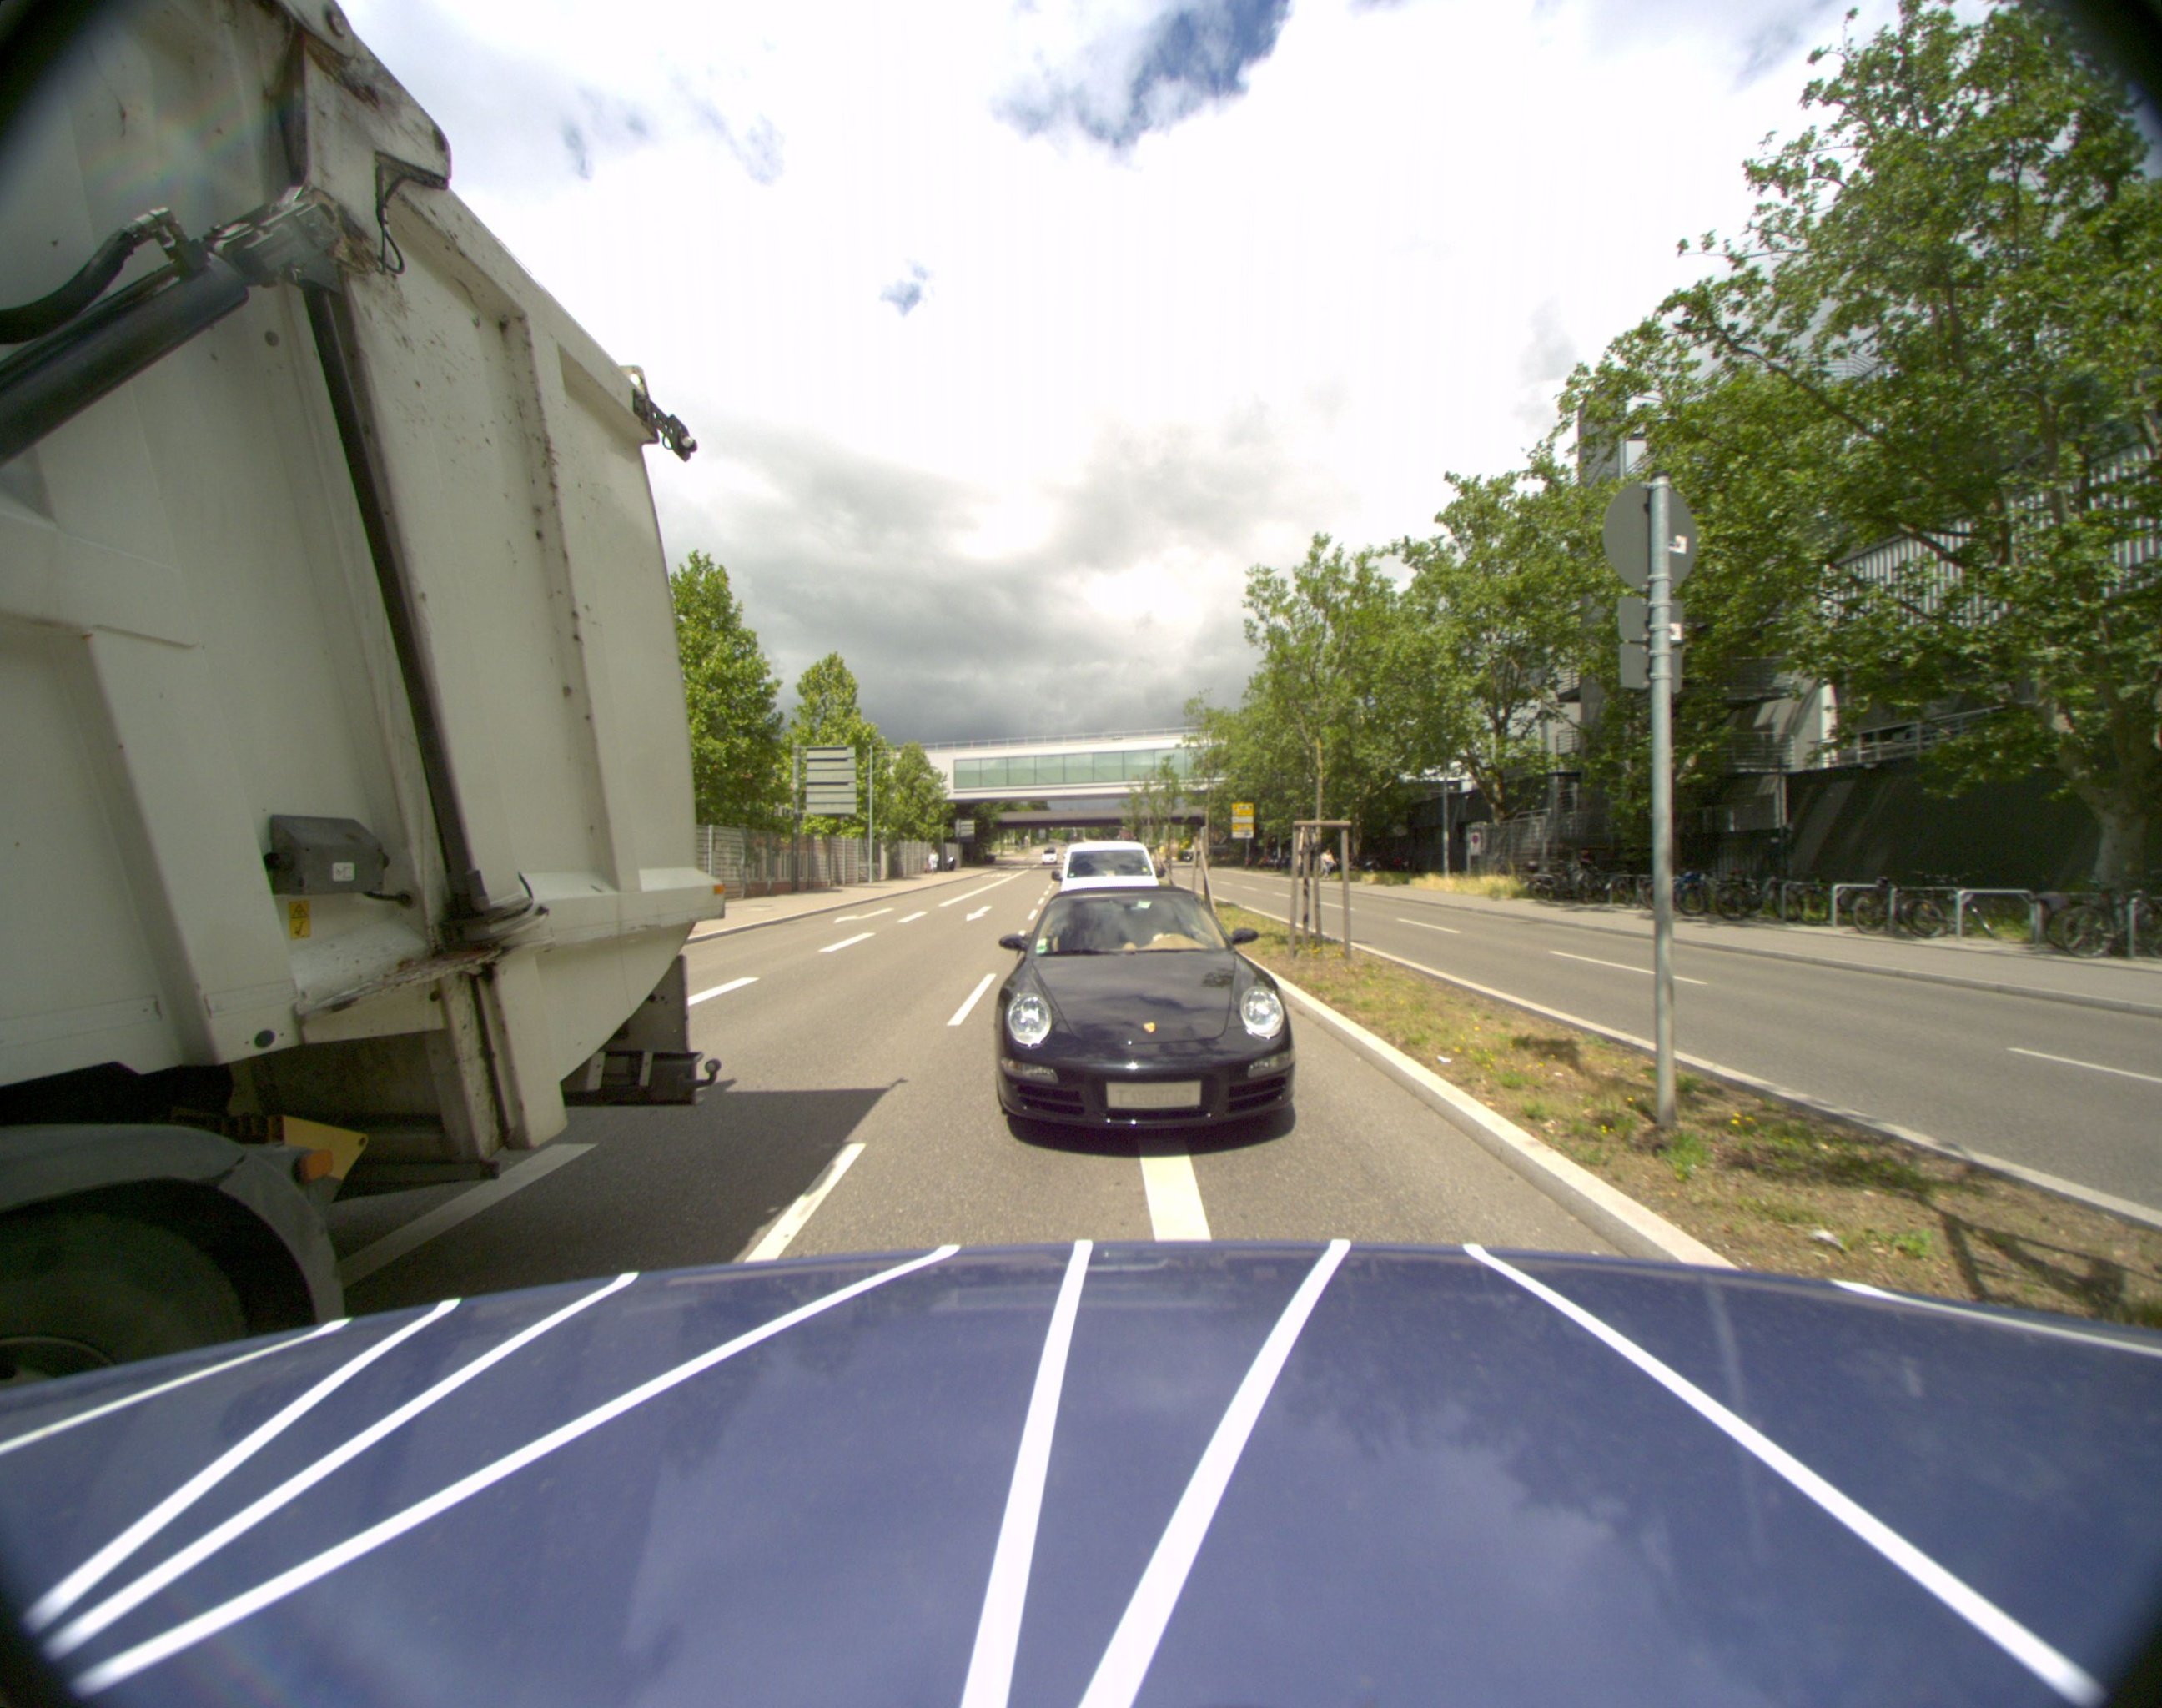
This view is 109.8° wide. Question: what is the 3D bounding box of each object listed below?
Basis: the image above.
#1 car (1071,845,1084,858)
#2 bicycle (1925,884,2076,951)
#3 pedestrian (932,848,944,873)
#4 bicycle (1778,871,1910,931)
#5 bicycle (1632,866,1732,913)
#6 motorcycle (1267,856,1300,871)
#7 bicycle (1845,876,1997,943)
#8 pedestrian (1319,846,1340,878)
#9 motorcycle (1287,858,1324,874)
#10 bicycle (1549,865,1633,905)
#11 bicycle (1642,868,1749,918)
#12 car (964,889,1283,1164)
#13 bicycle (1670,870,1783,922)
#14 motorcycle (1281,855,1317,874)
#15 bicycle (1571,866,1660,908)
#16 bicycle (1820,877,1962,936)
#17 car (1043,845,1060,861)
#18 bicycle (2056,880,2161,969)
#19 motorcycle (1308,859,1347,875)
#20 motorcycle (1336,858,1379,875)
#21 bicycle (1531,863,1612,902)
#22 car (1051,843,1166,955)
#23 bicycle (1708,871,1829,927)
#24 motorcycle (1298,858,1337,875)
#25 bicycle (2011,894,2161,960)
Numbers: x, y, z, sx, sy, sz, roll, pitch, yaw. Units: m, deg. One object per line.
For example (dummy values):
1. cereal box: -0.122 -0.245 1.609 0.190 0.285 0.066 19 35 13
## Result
1. car: -0.478 -0.416 114.294 1.862 1.800 4.357 -3 0 1
2. bicycle: 14.756 1.013 12.207 1.993 0.992 0.382 -1 1 -1
3. pedestrian: -11.249 0.487 59.781 0.739 1.901 0.658 -2 1 -2
4. bicycle: 15.045 0.925 15.008 2.129 1.104 0.382 -1 1 3
5. bicycle: 15.069 0.894 19.074 2.129 1.104 0.382 -1 1 3
6. motorcycle: 13.794 0.677 51.825 2.133 0.963 0.534 -1 0 1
7. bicycle: 14.582 0.956 13.208 2.129 1.089 0.382 -1 1 3
8. pedestrian: 13.275 0.415 40.583 0.900 1.710 0.673 -1 1 1
9. motorcycle: 14.034 0.742 47.574 2.133 0.963 0.534 -1 0 1
10. bicycle: 14.757 0.901 22.009 2.129 1.104 0.382 -1 1 3
11. bicycle: 14.509 0.923 17.959 2.129 1.104 0.382 -1 1 3
12. car: 0.260 1.033 6.049 1.710 1.280 3.806 -1 0 1
13. bicycle: 14.483 0.931 17.072 2.129 1.104 0.382 -1 1 3
14. motorcycle: 14.054 0.672 48.911 2.133 1.131 0.534 -1 0 1
15. bicycle: 14.826 0.914 21.085 2.129 1.104 0.382 -1 1 3
16. bicycle: 15.015 0.968 14.102 2.129 1.025 0.382 -1 1 3
17. car: -3.832 -0.127 99.169 1.925 2.082 4.657 -1 0 2
18. bicycle: 14.357 0.926 10.225 1.993 1.121 0.382 -1 1 -1
19. motorcycle: 14.554 0.763 44.849 2.133 0.880 0.534 -1 0 1
20. motorcycle: 15.395 0.716 42.334 2.133 0.893 0.534 -1 0 1
21. bicycle: 14.752 0.865 22.850 2.129 1.104 0.382 -1 1 3
22. car: 0.490 0.737 15.003 1.862 1.800 4.906 -1 0 1
23. bicycle: 14.504 0.943 16.047 2.129 1.104 0.382 -1 1 3
24. motorcycle: 14.267 0.752 45.814 2.133 0.963 0.534 -1 0 1
25. bicycle: 14.960 1.070 11.228 1.993 0.885 0.382 -1 1 -1
